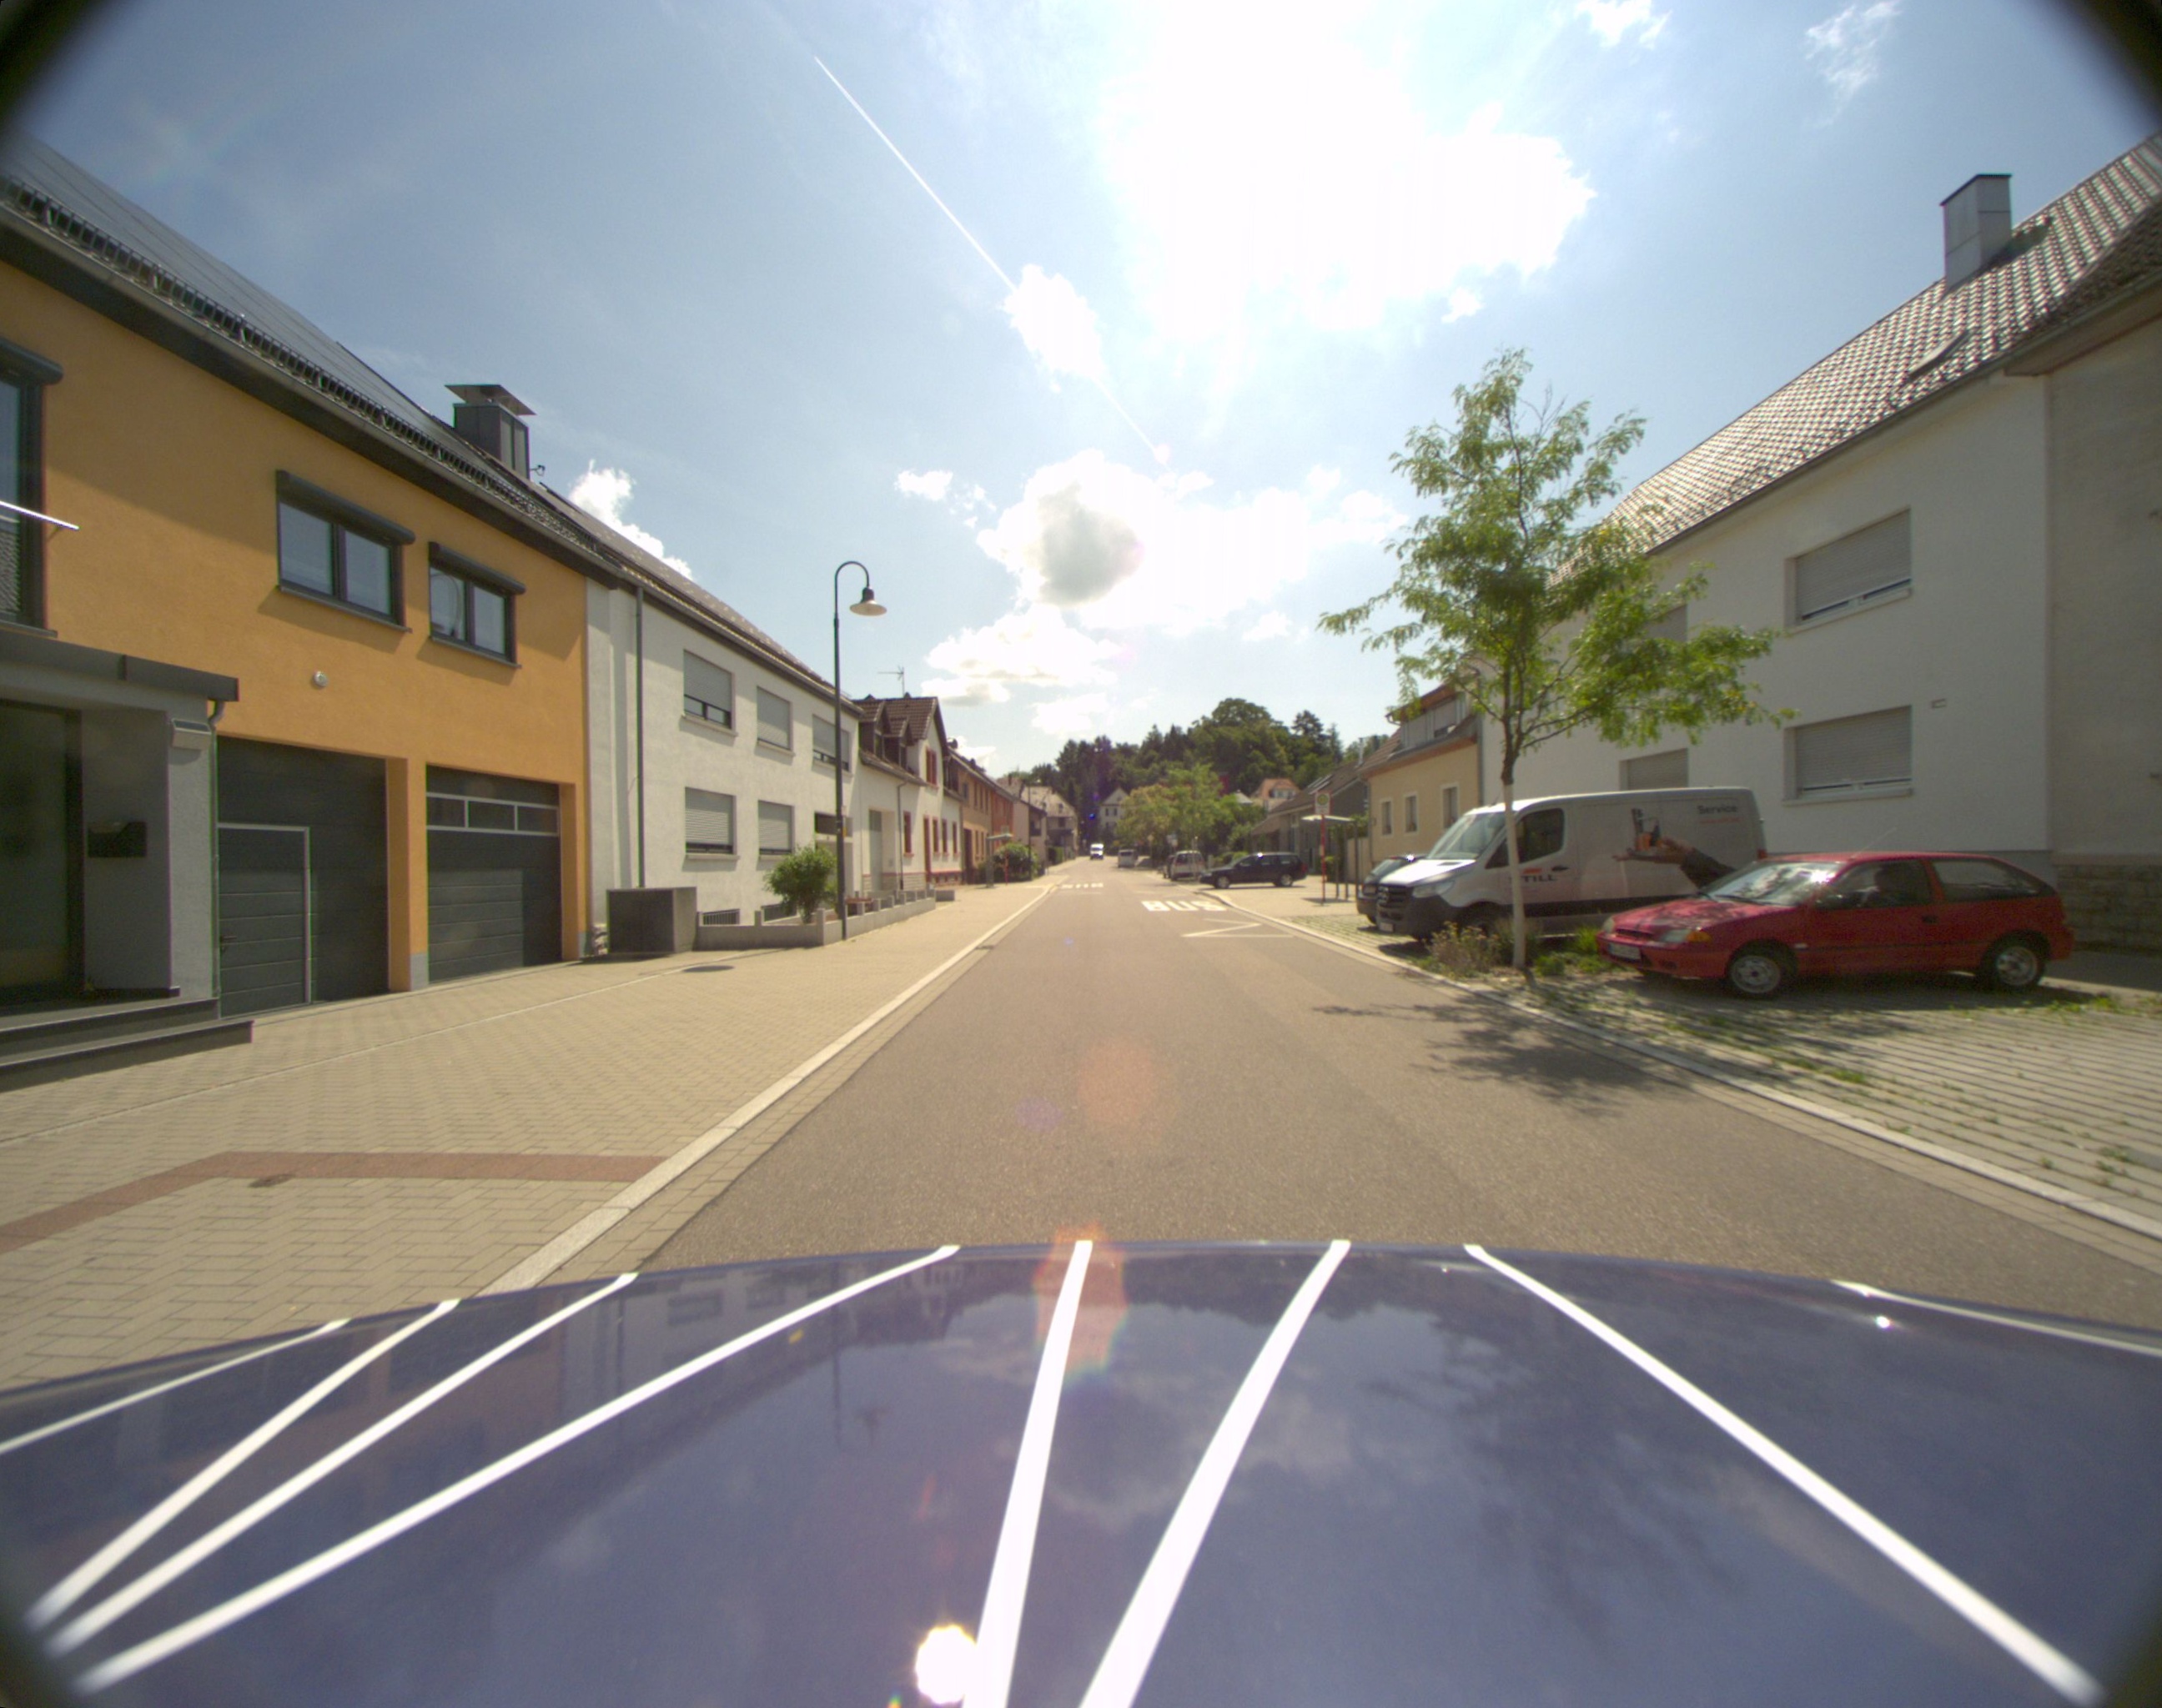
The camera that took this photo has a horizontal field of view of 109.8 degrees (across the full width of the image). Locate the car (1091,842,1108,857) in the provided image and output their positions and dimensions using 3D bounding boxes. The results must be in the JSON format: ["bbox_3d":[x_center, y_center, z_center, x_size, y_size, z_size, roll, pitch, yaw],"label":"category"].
[{"bbox_3d":[2.939,-0.728,121.721,2.489,2.306,5.599,-2,1,1],"label":"car"}]

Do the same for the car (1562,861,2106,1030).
[{"bbox_3d":[7.402,0.846,7.793,3.792,1.377,1.725,-2,1,2],"label":"car"}]

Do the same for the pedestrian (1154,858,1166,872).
[{"bbox_3d":[6.664,0.890,63.933,0.815,1.135,0.885,-2,1,-3],"label":"pedestrian"}]

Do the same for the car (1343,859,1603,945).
[{"bbox_3d":[7.349,0.866,14.550,3.997,1.437,1.901,-1,0,-1],"label":"car"}]

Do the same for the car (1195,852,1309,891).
[{"bbox_3d":[7.435,0.742,33.405,4.598,1.508,1.901,-2,0,1],"label":"car"}]

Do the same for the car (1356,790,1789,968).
[{"bbox_3d":[7.220,0.342,11.608,5.179,2.275,2.157,-2,0,-1],"label":"car"}]

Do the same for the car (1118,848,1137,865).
[{"bbox_3d":[5.468,0.245,89.521,1.998,1.968,3.999,-1,1,1],"label":"car"}]

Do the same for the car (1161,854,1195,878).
[{"bbox_3d":[6.531,0.812,51.299,1.727,1.515,3.910,-2,-1,0],"label":"car"}]

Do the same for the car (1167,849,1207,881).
[{"bbox_3d":[6.244,0.678,45.241,1.844,1.737,4.687,-2,-1,3],"label":"car"}]
